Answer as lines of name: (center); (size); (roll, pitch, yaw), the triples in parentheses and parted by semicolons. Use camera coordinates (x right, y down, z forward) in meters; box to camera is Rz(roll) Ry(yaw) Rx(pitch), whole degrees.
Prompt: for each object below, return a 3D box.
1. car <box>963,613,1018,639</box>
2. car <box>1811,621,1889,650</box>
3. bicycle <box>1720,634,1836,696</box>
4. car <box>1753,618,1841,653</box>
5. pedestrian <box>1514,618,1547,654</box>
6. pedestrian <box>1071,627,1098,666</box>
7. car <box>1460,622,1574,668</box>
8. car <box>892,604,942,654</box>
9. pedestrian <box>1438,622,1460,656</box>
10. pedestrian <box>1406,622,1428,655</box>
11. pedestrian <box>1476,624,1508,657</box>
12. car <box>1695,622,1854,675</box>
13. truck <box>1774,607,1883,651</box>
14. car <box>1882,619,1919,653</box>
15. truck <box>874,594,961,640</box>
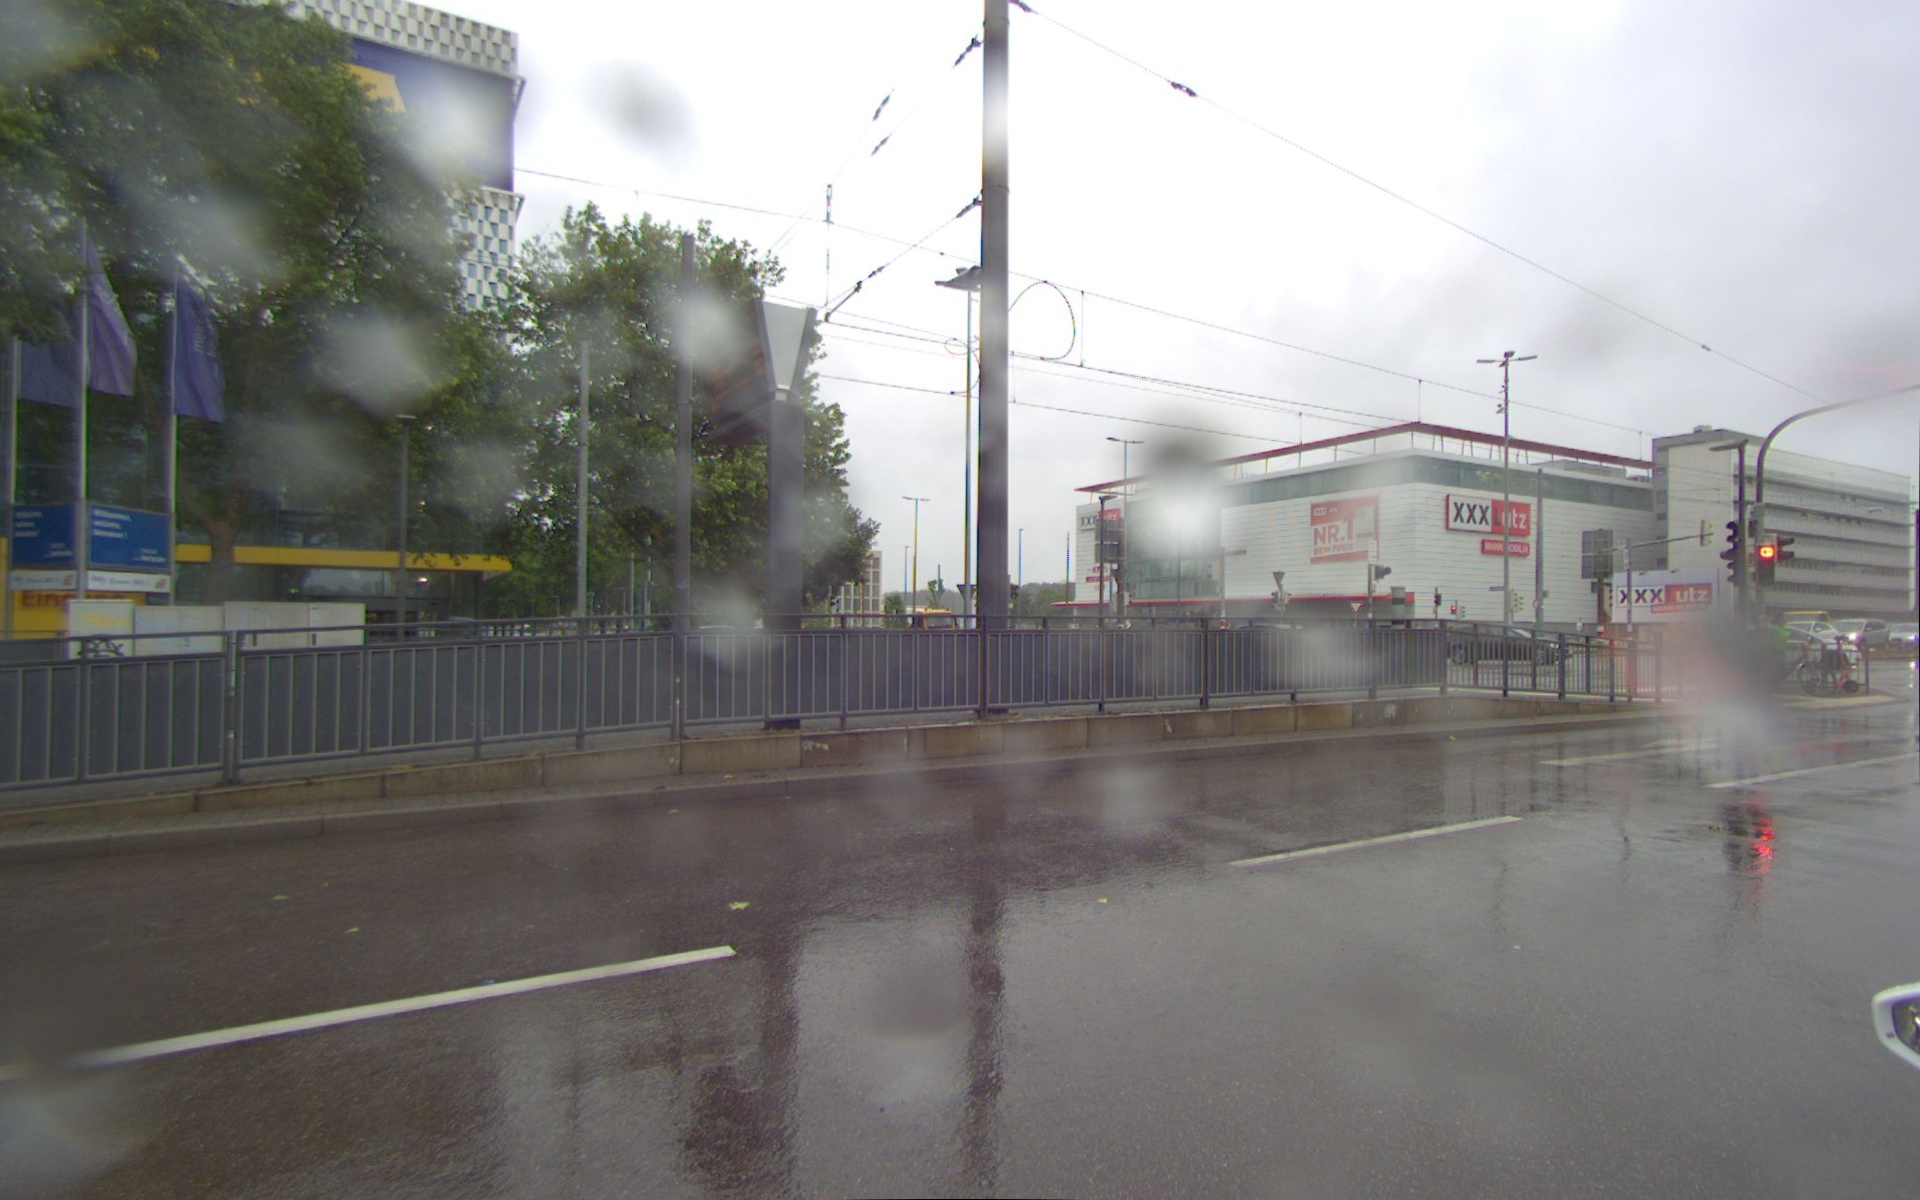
car: (2.160, 1.794, 70.206); (3.723, 1.645, 2.001); (2, 0, 2)
car: (44.864, 1.794, 50.626); (3.780, 1.354, 1.582); (2, 0, -26)
bicycle: (16.685, 1.307, 20.538); (0.409, 1.048, 1.742); (2, 3, -31)
car: (39.716, 1.692, 47.666); (3.823, 1.512, 1.693); (2, 0, -25)
pedestrian: (27.454, 1.719, 48.341); (0.996, 1.654, 0.917); (2, 0, -19)
pedestrian: (5.067, 1.904, 40.880); (0.863, 1.557, 0.560); (2, 0, -31)
car: (19.973, 1.580, 36.066); (3.309, 1.441, 1.460); (2, 0, 43)
car: (-1.928, 1.239, 44.037); (1.962, 2.040, 3.997); (2, 0, -5)
pedestrian: (24.290, 1.919, 49.890); (0.914, 1.654, 0.694); (2, 0, -42)
pedestrian: (23.275, 1.944, 51.184); (0.914, 1.654, 0.694); (2, 0, -42)
pedestrian: (28.089, 2.131, 53.011); (1.064, 1.654, 1.026); (2, 0, -4)
car: (26.435, 1.545, 32.740); (3.642, 1.523, 1.619); (2, 0, 21)
truck: (49.488, 1.651, 57.178); (7.542, 2.309, 2.341); (2, 0, -30)
car: (51.361, 1.966, 53.608); (3.947, 1.722, 1.886); (2, 0, -26)
truck: (-2.905, 1.044, 66.267); (2.612, 2.853, 7.084); (2, 0, -31)
